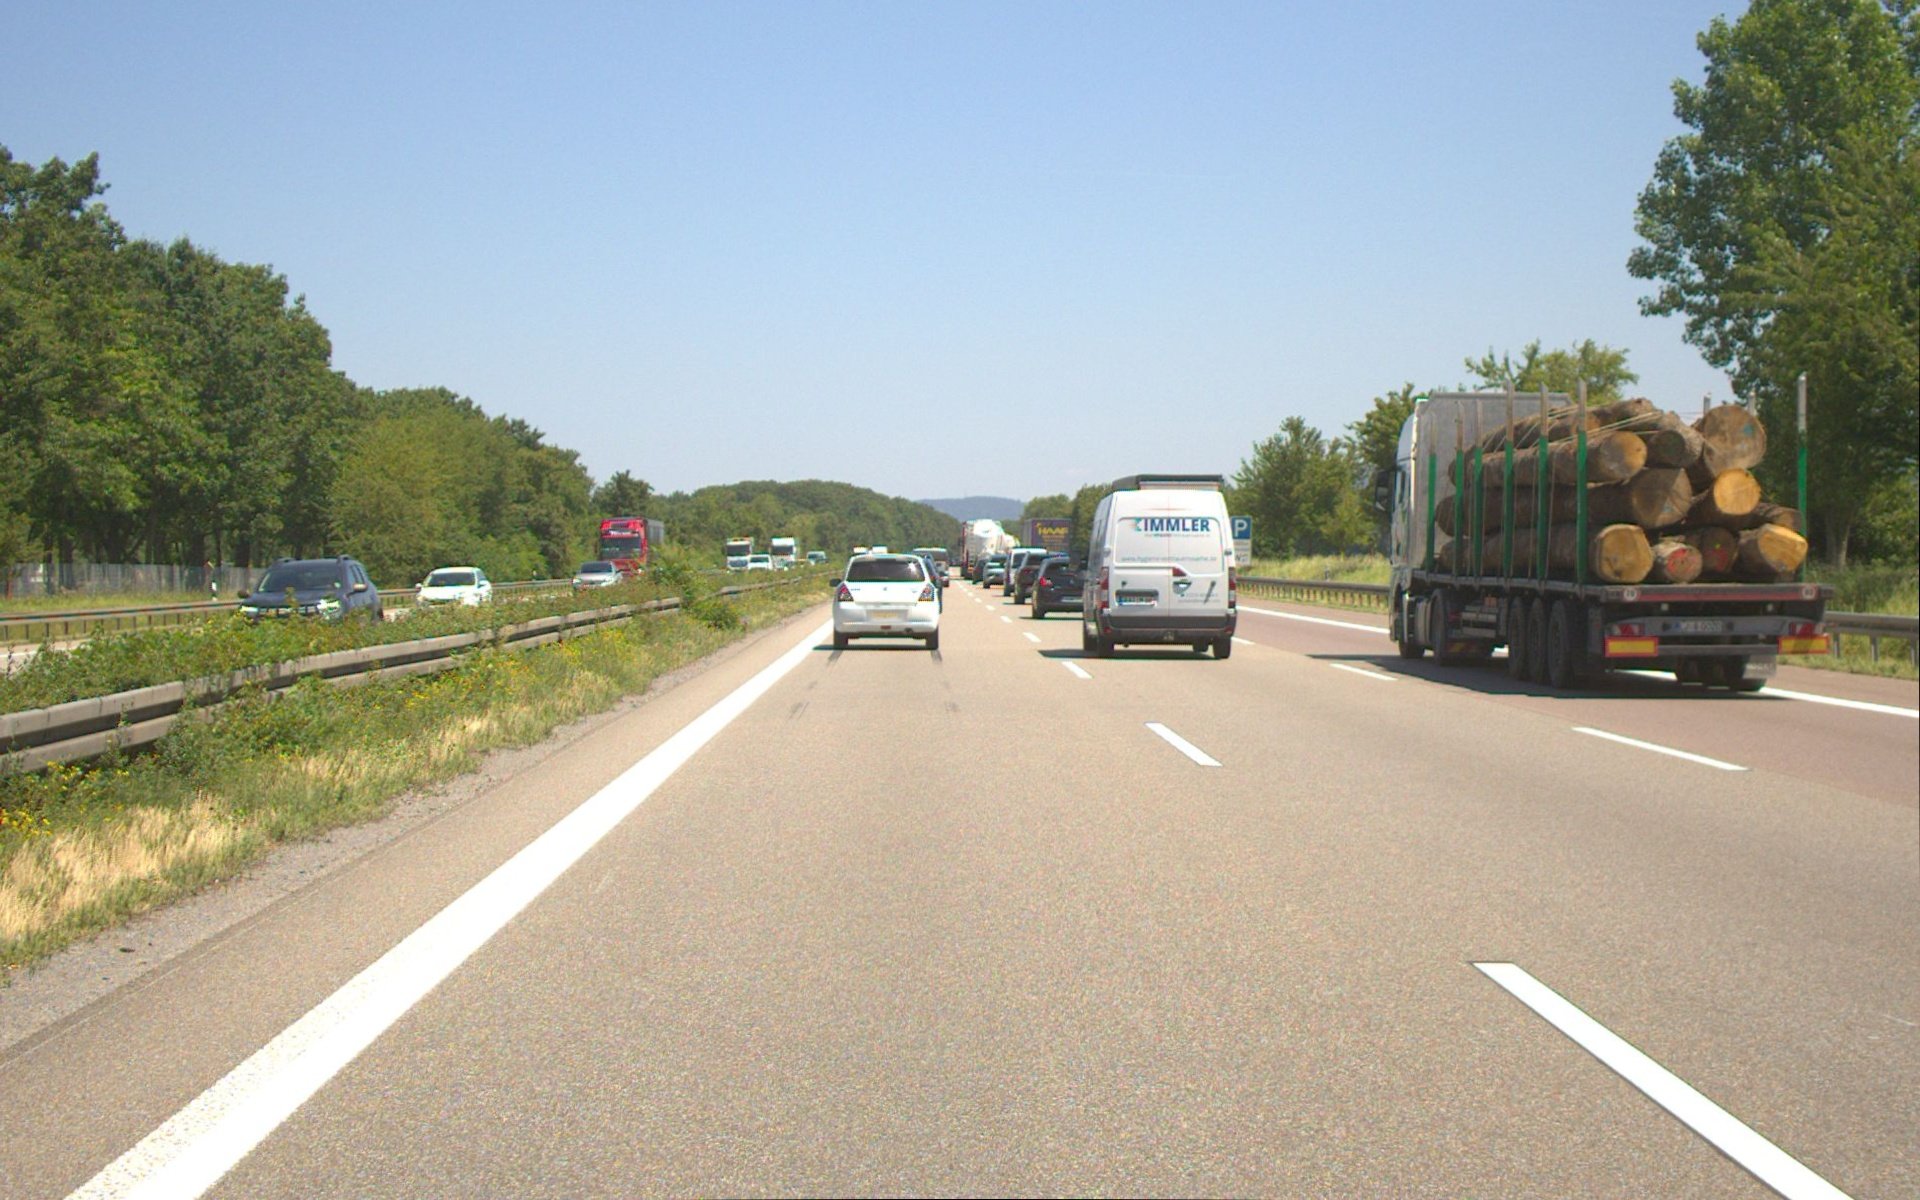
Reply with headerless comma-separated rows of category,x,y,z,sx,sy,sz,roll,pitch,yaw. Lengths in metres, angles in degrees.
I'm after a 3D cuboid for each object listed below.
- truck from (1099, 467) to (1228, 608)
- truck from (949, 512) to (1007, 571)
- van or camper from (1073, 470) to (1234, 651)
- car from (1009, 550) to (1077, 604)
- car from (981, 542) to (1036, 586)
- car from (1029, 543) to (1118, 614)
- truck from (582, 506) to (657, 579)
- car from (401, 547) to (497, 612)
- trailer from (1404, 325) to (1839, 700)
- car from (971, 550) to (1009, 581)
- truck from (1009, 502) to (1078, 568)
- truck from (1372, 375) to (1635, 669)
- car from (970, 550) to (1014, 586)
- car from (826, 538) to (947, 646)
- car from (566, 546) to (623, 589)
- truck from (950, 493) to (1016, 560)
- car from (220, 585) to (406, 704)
truck,6.483,-2.003,112.418,3.079,4.194,16.844,1,1,0
truck,1.272,-4.356,258.495,3.257,4.194,16.845,1,1,-3
van or camper,2.902,-0.606,52.877,2.058,2.613,5.985,0,1,-1
car,2.572,-0.727,107.637,1.857,1.646,4.000,1,1,-2
car,1.816,-1.363,129.614,1.857,1.646,4.000,1,1,-2
car,2.713,-0.528,82.935,1.857,1.646,4.000,1,1,-2
truck,-19.138,-3.229,193.560,3.439,3.917,6.221,-3,1,0
car,-14.263,-0.587,96.163,1.993,1.634,4.859,-4,1,-2
trailer,7.910,-1.032,43.339,2.653,3.945,13.637,1,1,-1
car,1.622,-1.889,186.533,1.857,1.646,4.000,1,1,-2
truck,5.583,-4.357,233.292,3.257,4.194,16.845,1,1,-3
truck,7.825,-1.112,50.282,2.669,3.981,6.636,1,1,-1
car,1.482,-1.526,161.740,1.857,1.646,4.000,1,1,-2
car,-1.219,-0.151,55.555,1.857,1.646,4.000,1,1,-2
car,-15.337,-1.378,144.476,1.846,1.676,4.815,-2,1,-1
truck,1.416,-4.761,225.932,3.257,4.194,16.845,1,1,-3
car,-10.249,0.665,54.802,1.993,1.634,4.859,-4,1,-1
